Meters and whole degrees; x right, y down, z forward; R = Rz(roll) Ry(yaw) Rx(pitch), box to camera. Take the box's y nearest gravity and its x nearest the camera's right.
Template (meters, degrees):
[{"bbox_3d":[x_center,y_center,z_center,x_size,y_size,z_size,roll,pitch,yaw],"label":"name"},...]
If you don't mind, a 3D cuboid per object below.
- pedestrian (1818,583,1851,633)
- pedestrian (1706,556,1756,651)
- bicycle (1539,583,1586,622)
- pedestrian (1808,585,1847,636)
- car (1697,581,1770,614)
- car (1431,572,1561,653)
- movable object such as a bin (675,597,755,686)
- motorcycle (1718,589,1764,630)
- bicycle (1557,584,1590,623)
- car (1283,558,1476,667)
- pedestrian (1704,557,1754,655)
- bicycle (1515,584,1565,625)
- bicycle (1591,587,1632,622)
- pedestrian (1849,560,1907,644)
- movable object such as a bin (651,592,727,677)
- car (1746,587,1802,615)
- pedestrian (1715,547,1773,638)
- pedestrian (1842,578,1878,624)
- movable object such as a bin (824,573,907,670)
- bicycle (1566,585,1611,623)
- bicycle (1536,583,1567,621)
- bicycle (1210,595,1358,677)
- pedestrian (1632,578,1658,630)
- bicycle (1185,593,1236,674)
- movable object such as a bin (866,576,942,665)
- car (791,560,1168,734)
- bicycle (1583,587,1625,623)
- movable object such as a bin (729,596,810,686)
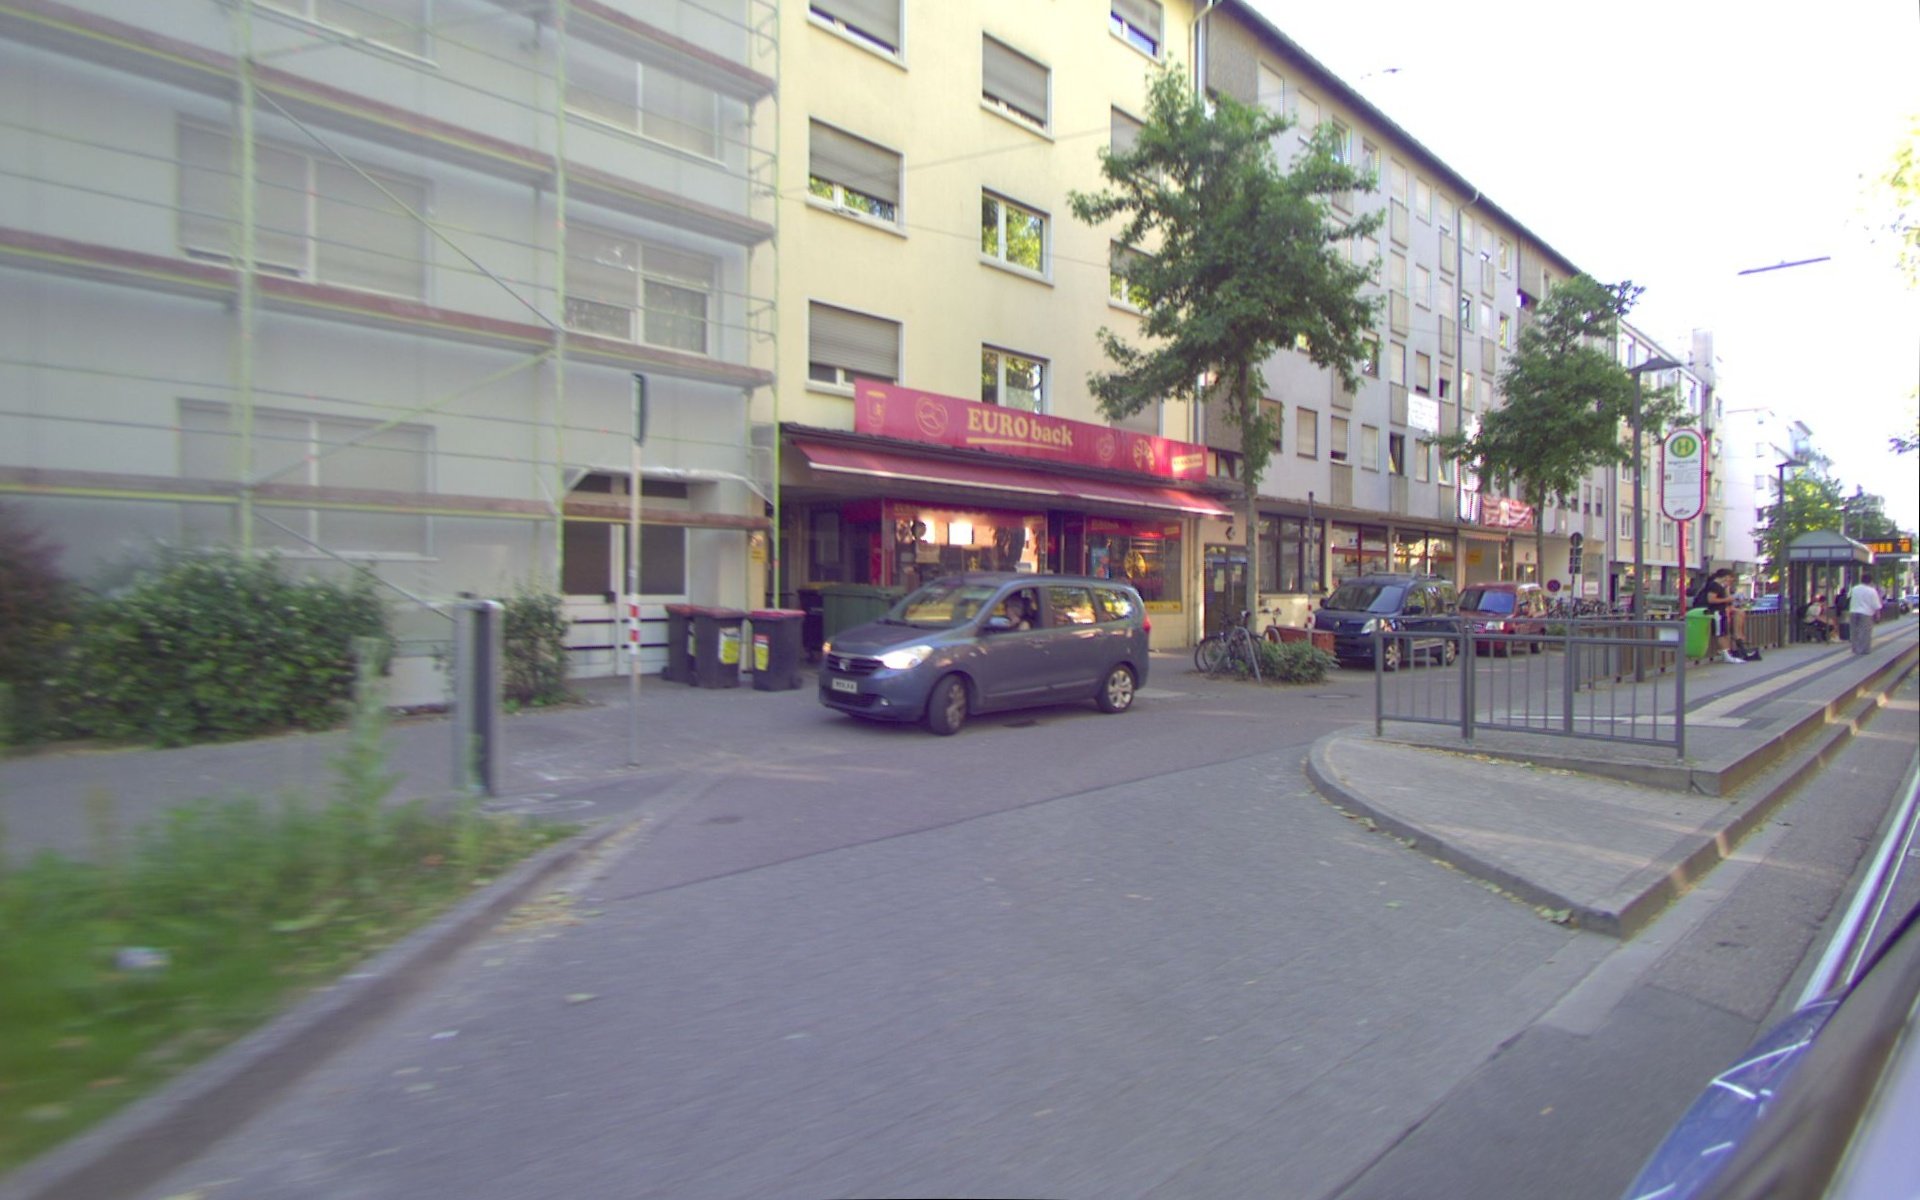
[{"bbox_3d":[23.694,0.221,27.429,0.582,1.322,0.520,-2,-1,36],"label":"pedestrian"},{"bbox_3d":[14.733,0.061,19.345,0.689,1.792,0.495,-1,0,-29],"label":"pedestrian"},{"bbox_3d":[20.189,0.084,33.870,0.771,1.194,2.741,7,4,41],"label":"bicycle"},{"bbox_3d":[23.266,0.268,27.158,0.717,1.343,0.487,-1,0,36],"label":"pedestrian"},{"bbox_3d":[37.303,-0.118,48.765,4.580,1.502,1.956,-1,-1,-42],"label":"car"},{"bbox_3d":[13.337,0.230,25.097,1.690,1.776,4.107,4,4,44],"label":"car"},{"bbox_3d":[-3.312,0.538,13.676,0.881,1.124,0.686,2,2,44],"label":"movable object such as a bin"},{"bbox_3d":[29.380,0.348,38.069,2.172,1.473,1.053,-1,0,-44],"label":"motorcycle"},{"bbox_3d":[21.025,0.093,34.719,0.767,1.194,2.754,6,4,29],"label":"bicycle"},{"bbox_3d":[8.599,0.185,20.608,4.122,1.918,1.997,0,4,-42],"label":"car"},{"bbox_3d":[14.282,0.111,18.786,0.686,1.777,0.572,-1,0,40],"label":"pedestrian"},{"bbox_3d":[18.374,0.106,32.045,0.771,1.194,2.741,5,4,41],"label":"bicycle"},{"bbox_3d":[24.356,0.171,37.804,0.771,1.194,2.741,7,4,41],"label":"bicycle"},{"bbox_3d":[19.441,0.046,21.441,0.629,1.734,0.835,-1,0,-42],"label":"pedestrian"},{"bbox_3d":[-3.818,0.468,14.263,0.881,1.124,0.686,2,2,44],"label":"movable object such as a bin"},{"bbox_3d":[44.924,0.049,55.830,3.934,1.505,1.895,-1,0,-44],"label":"car"},{"bbox_3d":[15.310,-0.148,19.762,0.843,1.722,0.683,-1,0,40],"label":"pedestrian"},{"bbox_3d":[31.633,0.032,35.569,0.836,1.596,0.650,-1,0,-26],"label":"pedestrian"},{"bbox_3d":[-1.446,0.305,15.502,0.999,1.414,0.812,2,2,44],"label":"movable object such as a bin"},{"bbox_3d":[21.869,0.135,35.189,0.771,1.194,2.741,7,4,41],"label":"bicycle"},{"bbox_3d":[20.290,0.045,34.695,0.768,1.194,2.752,6,4,31],"label":"bicycle"},{"bbox_3d":[5.552,0.572,17.438,1.012,1.224,2.207,-1,3,-43],"label":"bicycle"},{"bbox_3d":[24.826,0.142,36.678,0.677,1.827,0.762,-1,0,40],"label":"pedestrian"},{"bbox_3d":[4.317,0.533,17.339,0.676,1.224,2.199,1,2,18],"label":"bicycle"},{"bbox_3d":[-0.905,0.310,16.412,0.924,1.367,0.812,2,2,44],"label":"movable object such as a bin"},{"bbox_3d":[0.380,0.419,11.779,4.366,1.642,1.765,0,2,-43],"label":"car"},{"bbox_3d":[23.043,0.180,36.197,0.771,1.194,2.741,7,4,41],"label":"bicycle"},{"bbox_3d":[-2.559,0.526,13.580,0.881,1.124,0.686,2,2,44],"label":"movable object such as a bin"}]
